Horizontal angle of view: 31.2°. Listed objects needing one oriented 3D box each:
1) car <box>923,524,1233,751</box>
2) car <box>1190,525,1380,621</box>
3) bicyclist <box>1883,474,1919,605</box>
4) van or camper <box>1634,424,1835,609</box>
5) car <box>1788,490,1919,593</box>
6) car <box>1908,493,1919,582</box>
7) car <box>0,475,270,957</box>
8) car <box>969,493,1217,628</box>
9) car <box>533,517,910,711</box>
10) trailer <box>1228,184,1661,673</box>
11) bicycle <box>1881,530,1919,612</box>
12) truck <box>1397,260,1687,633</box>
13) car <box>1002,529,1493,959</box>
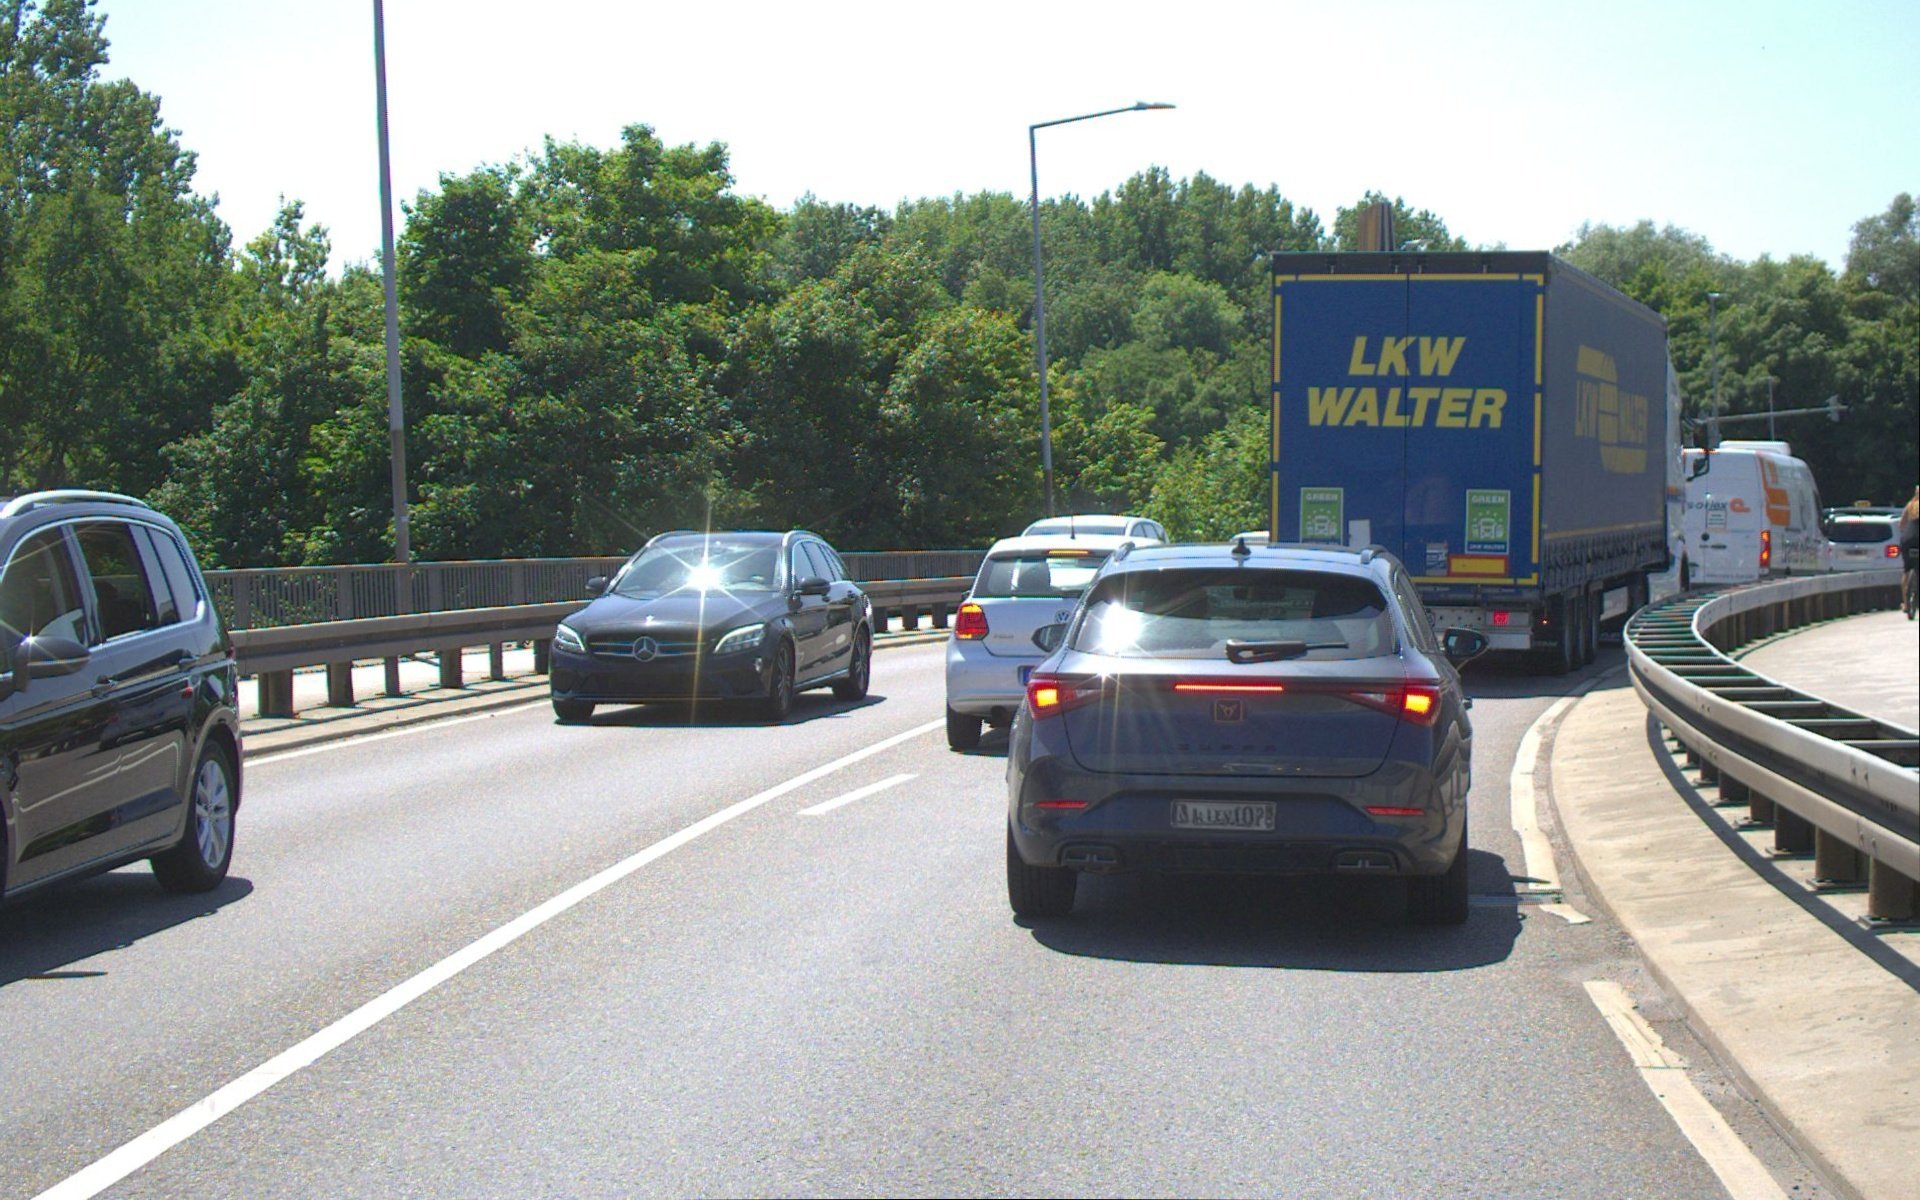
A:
[{"bbox_3d":[0.917,0.196,24.356,1.678,1.406,3.974,1,2,9],"label":"car"},{"bbox_3d":[4.897,-0.426,51.346,1.699,1.371,3.995,0,1,23],"label":"car"},{"bbox_3d":[12.444,-0.795,44.980,0.578,1.677,0.728,-2,0,22],"label":"bicyclist"},{"bbox_3d":[12.566,-1.358,55.459,2.156,2.806,6.380,1,2,22],"label":"van or camper"},{"bbox_3d":[16.809,-1.120,64.253,1.723,1.837,3.995,1,2,26],"label":"car"},{"bbox_3d":[21.061,-1.307,71.298,1.724,1.796,3.993,1,2,30],"label":"car"},{"bbox_3d":[-4.019,0.372,12.527,1.772,1.620,4.253,0,1,6],"label":"car"},{"bbox_3d":[1.694,-0.511,42.293,1.738,1.574,4.172,0,1,22],"label":"car"},{"bbox_3d":[-1.824,0.051,27.817,1.773,1.434,4.389,0,1,14],"label":"car"},{"bbox_3d":[5.615,-1.739,37.360,2.907,4.403,12.424,1,2,16],"label":"trailer"},{"bbox_3d":[12.465,-0.392,45.001,0.582,1.032,1.483,-2,0,22],"label":"bicycle"},{"bbox_3d":[7.598,-1.927,44.208,2.907,4.403,6.551,1,2,16],"label":"truck"},{"bbox_3d":[1.095,0.454,13.845,1.677,1.451,3.958,0,1,3],"label":"car"}]
